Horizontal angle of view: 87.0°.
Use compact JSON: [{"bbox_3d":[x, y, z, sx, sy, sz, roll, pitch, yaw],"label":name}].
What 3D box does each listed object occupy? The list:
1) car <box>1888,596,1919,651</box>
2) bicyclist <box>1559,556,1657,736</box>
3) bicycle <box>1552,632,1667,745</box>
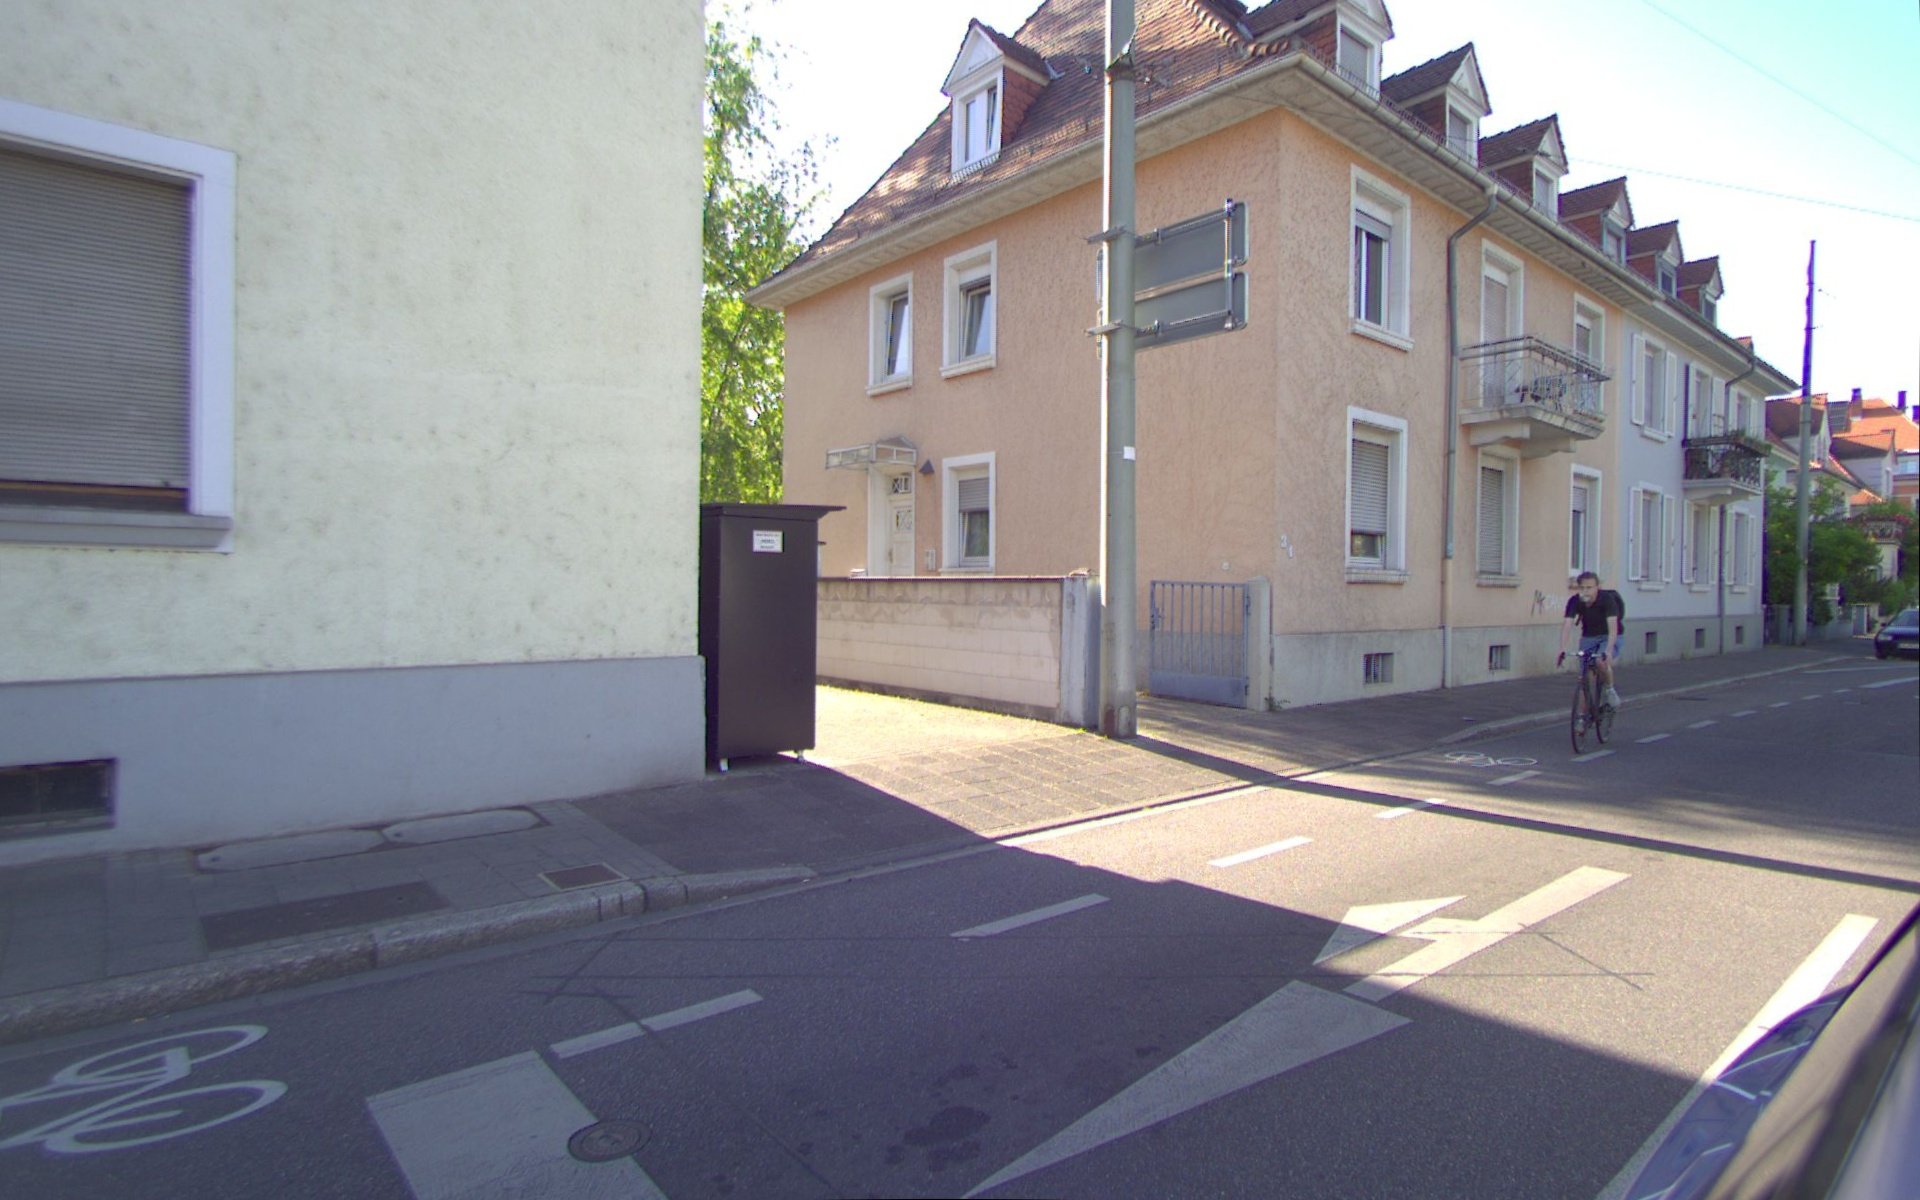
[{"bbox_3d":[26.719,0.623,27.404,4.347,1.425,1.866,0,1,-41],"label":"car"},{"bbox_3d":[6.695,0.443,10.448,1.065,1.752,0.561,0,0,-40],"label":"bicyclist"},{"bbox_3d":[6.771,0.876,10.512,1.727,1.029,0.533,0,1,-41],"label":"bicycle"}]
